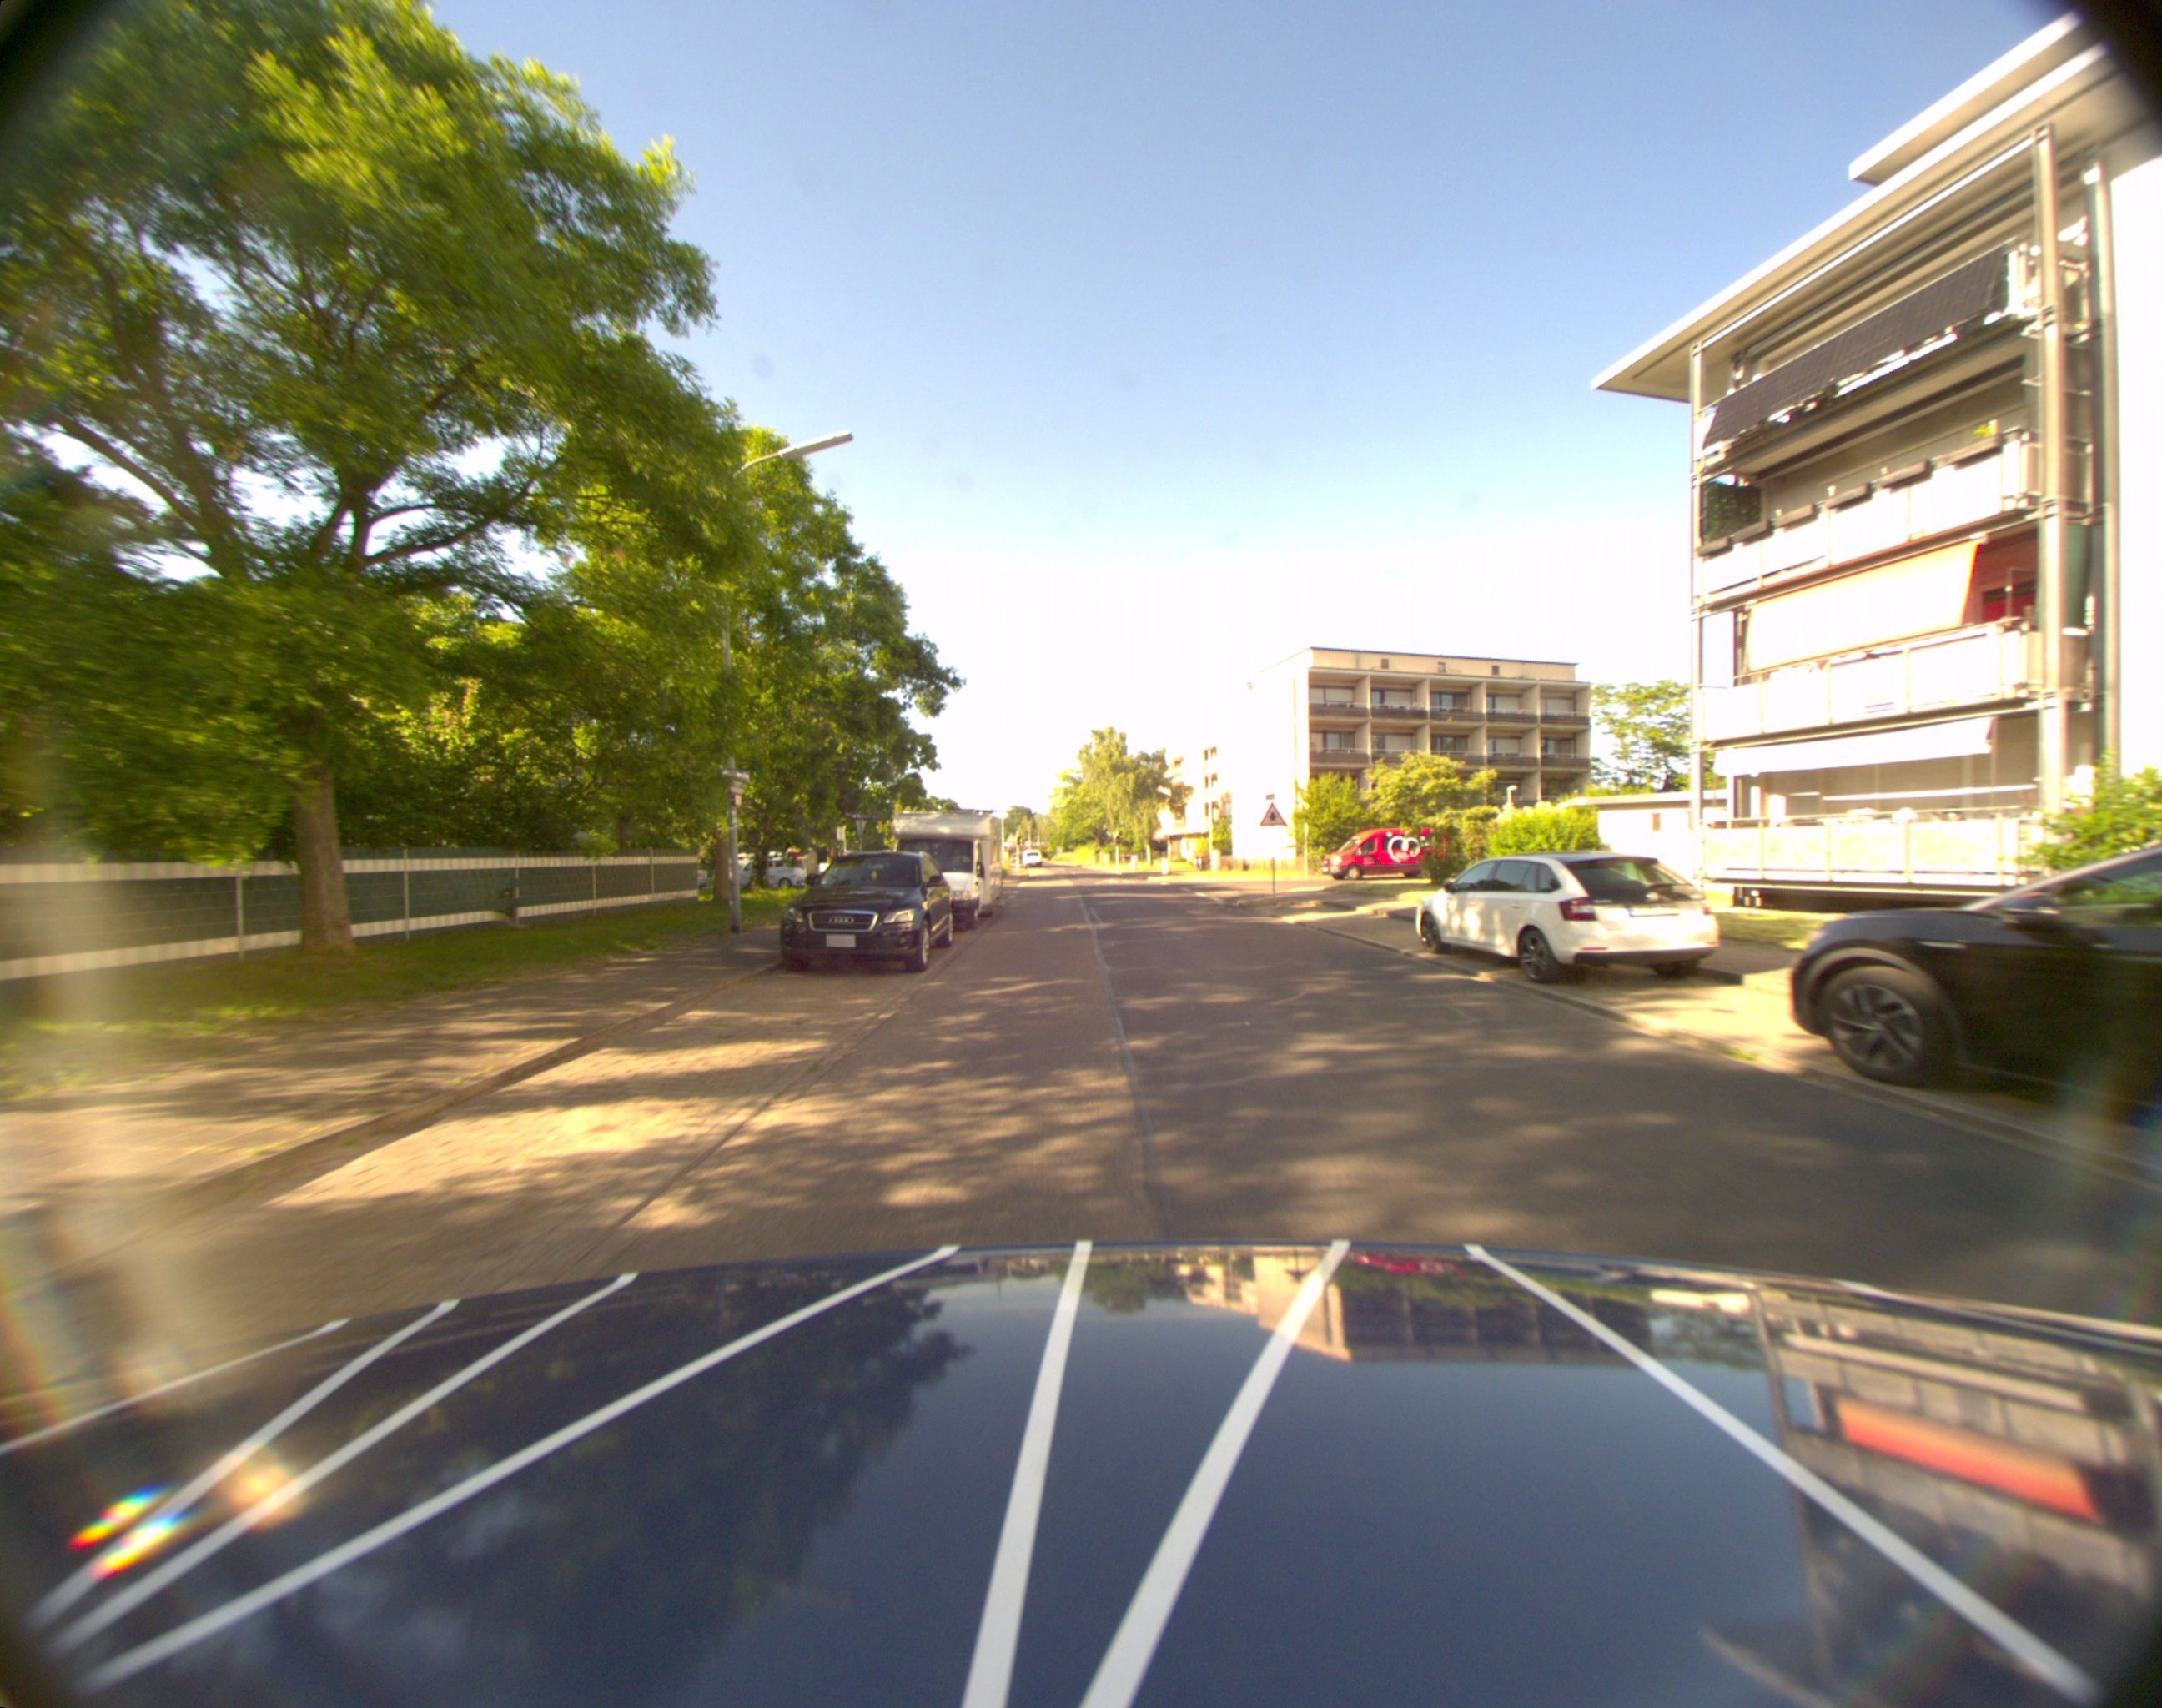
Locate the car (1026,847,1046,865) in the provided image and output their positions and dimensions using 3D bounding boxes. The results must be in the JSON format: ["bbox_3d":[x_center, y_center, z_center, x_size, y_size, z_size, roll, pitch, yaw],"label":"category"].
[{"bbox_3d":[-4.967,0.237,83.421,1.921,1.861,4.862,-2,1,-6],"label":"car"}]

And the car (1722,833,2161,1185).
[{"bbox_3d":[5.863,0.697,3.349,1.919,1.594,4.810,-1,1,-2],"label":"car"}]

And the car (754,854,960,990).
[{"bbox_3d":[-3.115,0.845,11.640,1.999,1.631,4.535,1,0,-3],"label":"car"}]

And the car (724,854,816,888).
[{"bbox_3d":[-15.062,0.819,36.904,3.692,1.569,1.829,-1,1,5],"label":"car"}]

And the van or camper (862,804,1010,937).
[{"bbox_3d":[-3.200,0.306,18.424,2.358,2.581,6.424,2,1,-1],"label":"van or camper"}]

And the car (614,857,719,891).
[{"bbox_3d":[-20.388,0.972,37.463,4.112,1.532,1.974,-1,0,3],"label":"car"}]

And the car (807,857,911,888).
[{"bbox_3d":[-10.654,0.883,36.631,4.435,1.329,1.746,-2,-1,2],"label":"car"}]

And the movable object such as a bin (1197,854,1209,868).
[{"bbox_3d":[9.430,0.518,58.699,0.629,1.042,0.701,-1,1,-26],"label":"movable object such as a bin"}]

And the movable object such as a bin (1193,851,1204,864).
[{"bbox_3d":[9.168,0.284,59.281,0.565,1.047,0.556,-1,1,-25],"label":"movable object such as a bin"}]

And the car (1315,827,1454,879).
[{"bbox_3d":[14.719,-0.042,37.073,5.921,2.414,2.213,0,-1,-3],"label":"car"}]

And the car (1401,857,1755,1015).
[{"bbox_3d":[5.805,0.813,9.639,1.650,1.458,4.330,-2,0,0],"label":"car"}]
